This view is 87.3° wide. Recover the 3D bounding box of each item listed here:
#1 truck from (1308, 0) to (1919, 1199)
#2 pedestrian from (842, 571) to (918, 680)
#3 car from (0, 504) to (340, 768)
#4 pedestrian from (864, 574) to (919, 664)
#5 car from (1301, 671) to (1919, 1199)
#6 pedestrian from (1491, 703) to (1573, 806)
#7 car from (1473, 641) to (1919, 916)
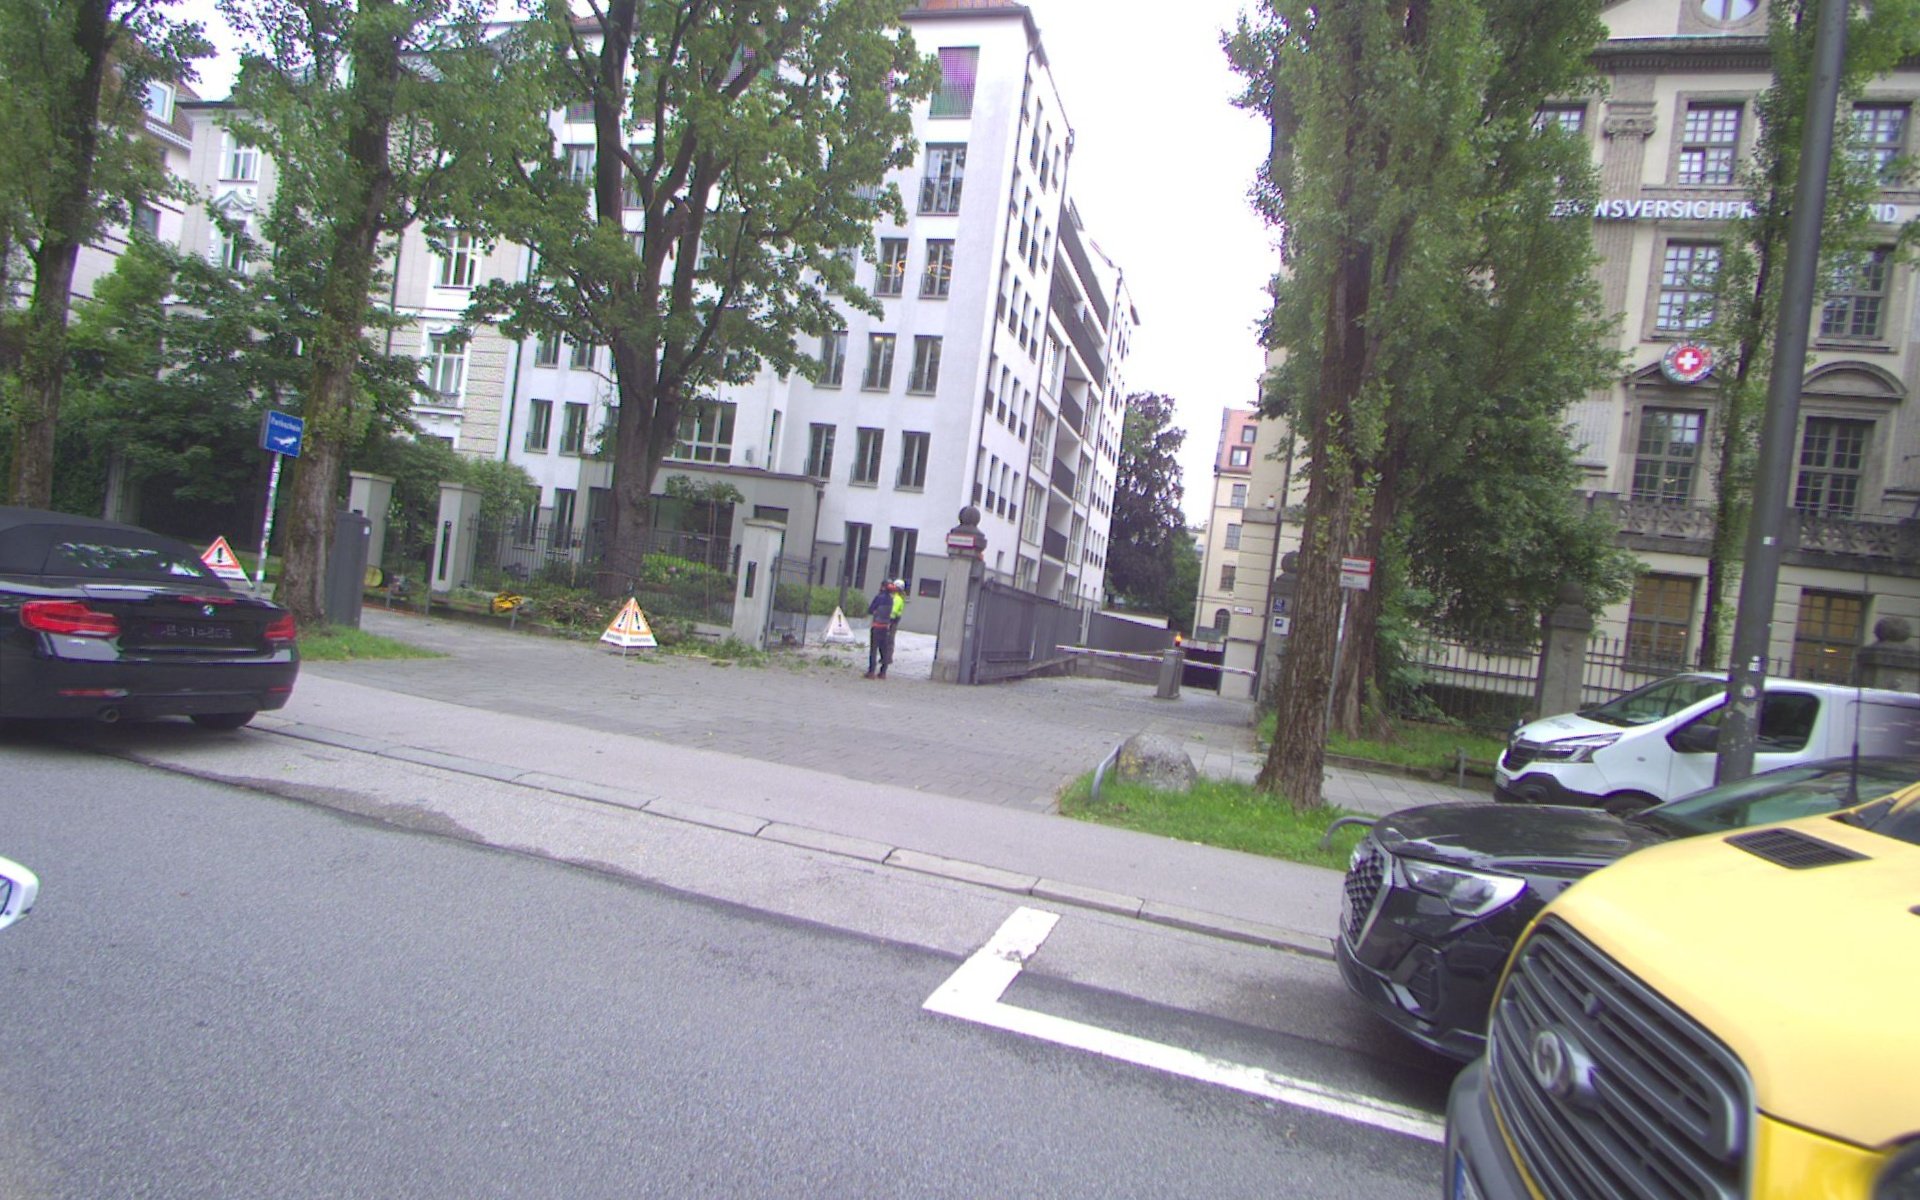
[{"bbox_3d":[4.342,0.670,0.866,7.194,2.933,2.336,7,0,15],"label":"truck"},{"bbox_3d":[-1.500,0.477,18.789,0.934,1.889,0.763,7,1,-45],"label":"pedestrian"},{"bbox_3d":[-6.612,0.050,6.926,3.925,1.370,1.753,7,-1,18],"label":"car"},{"bbox_3d":[-1.525,0.427,22.516,0.819,1.877,0.774,7,1,11],"label":"pedestrian"},{"bbox_3d":[3.604,1.326,3.698,4.242,1.513,1.732,7,0,17],"label":"car"},{"bbox_3d":[7.408,1.981,13.059,0.713,1.155,0.703,7,0,22],"label":"pedestrian"},{"bbox_3d":[8.135,1.725,9.657,5.223,1.948,2.001,7,-1,16],"label":"car"}]
